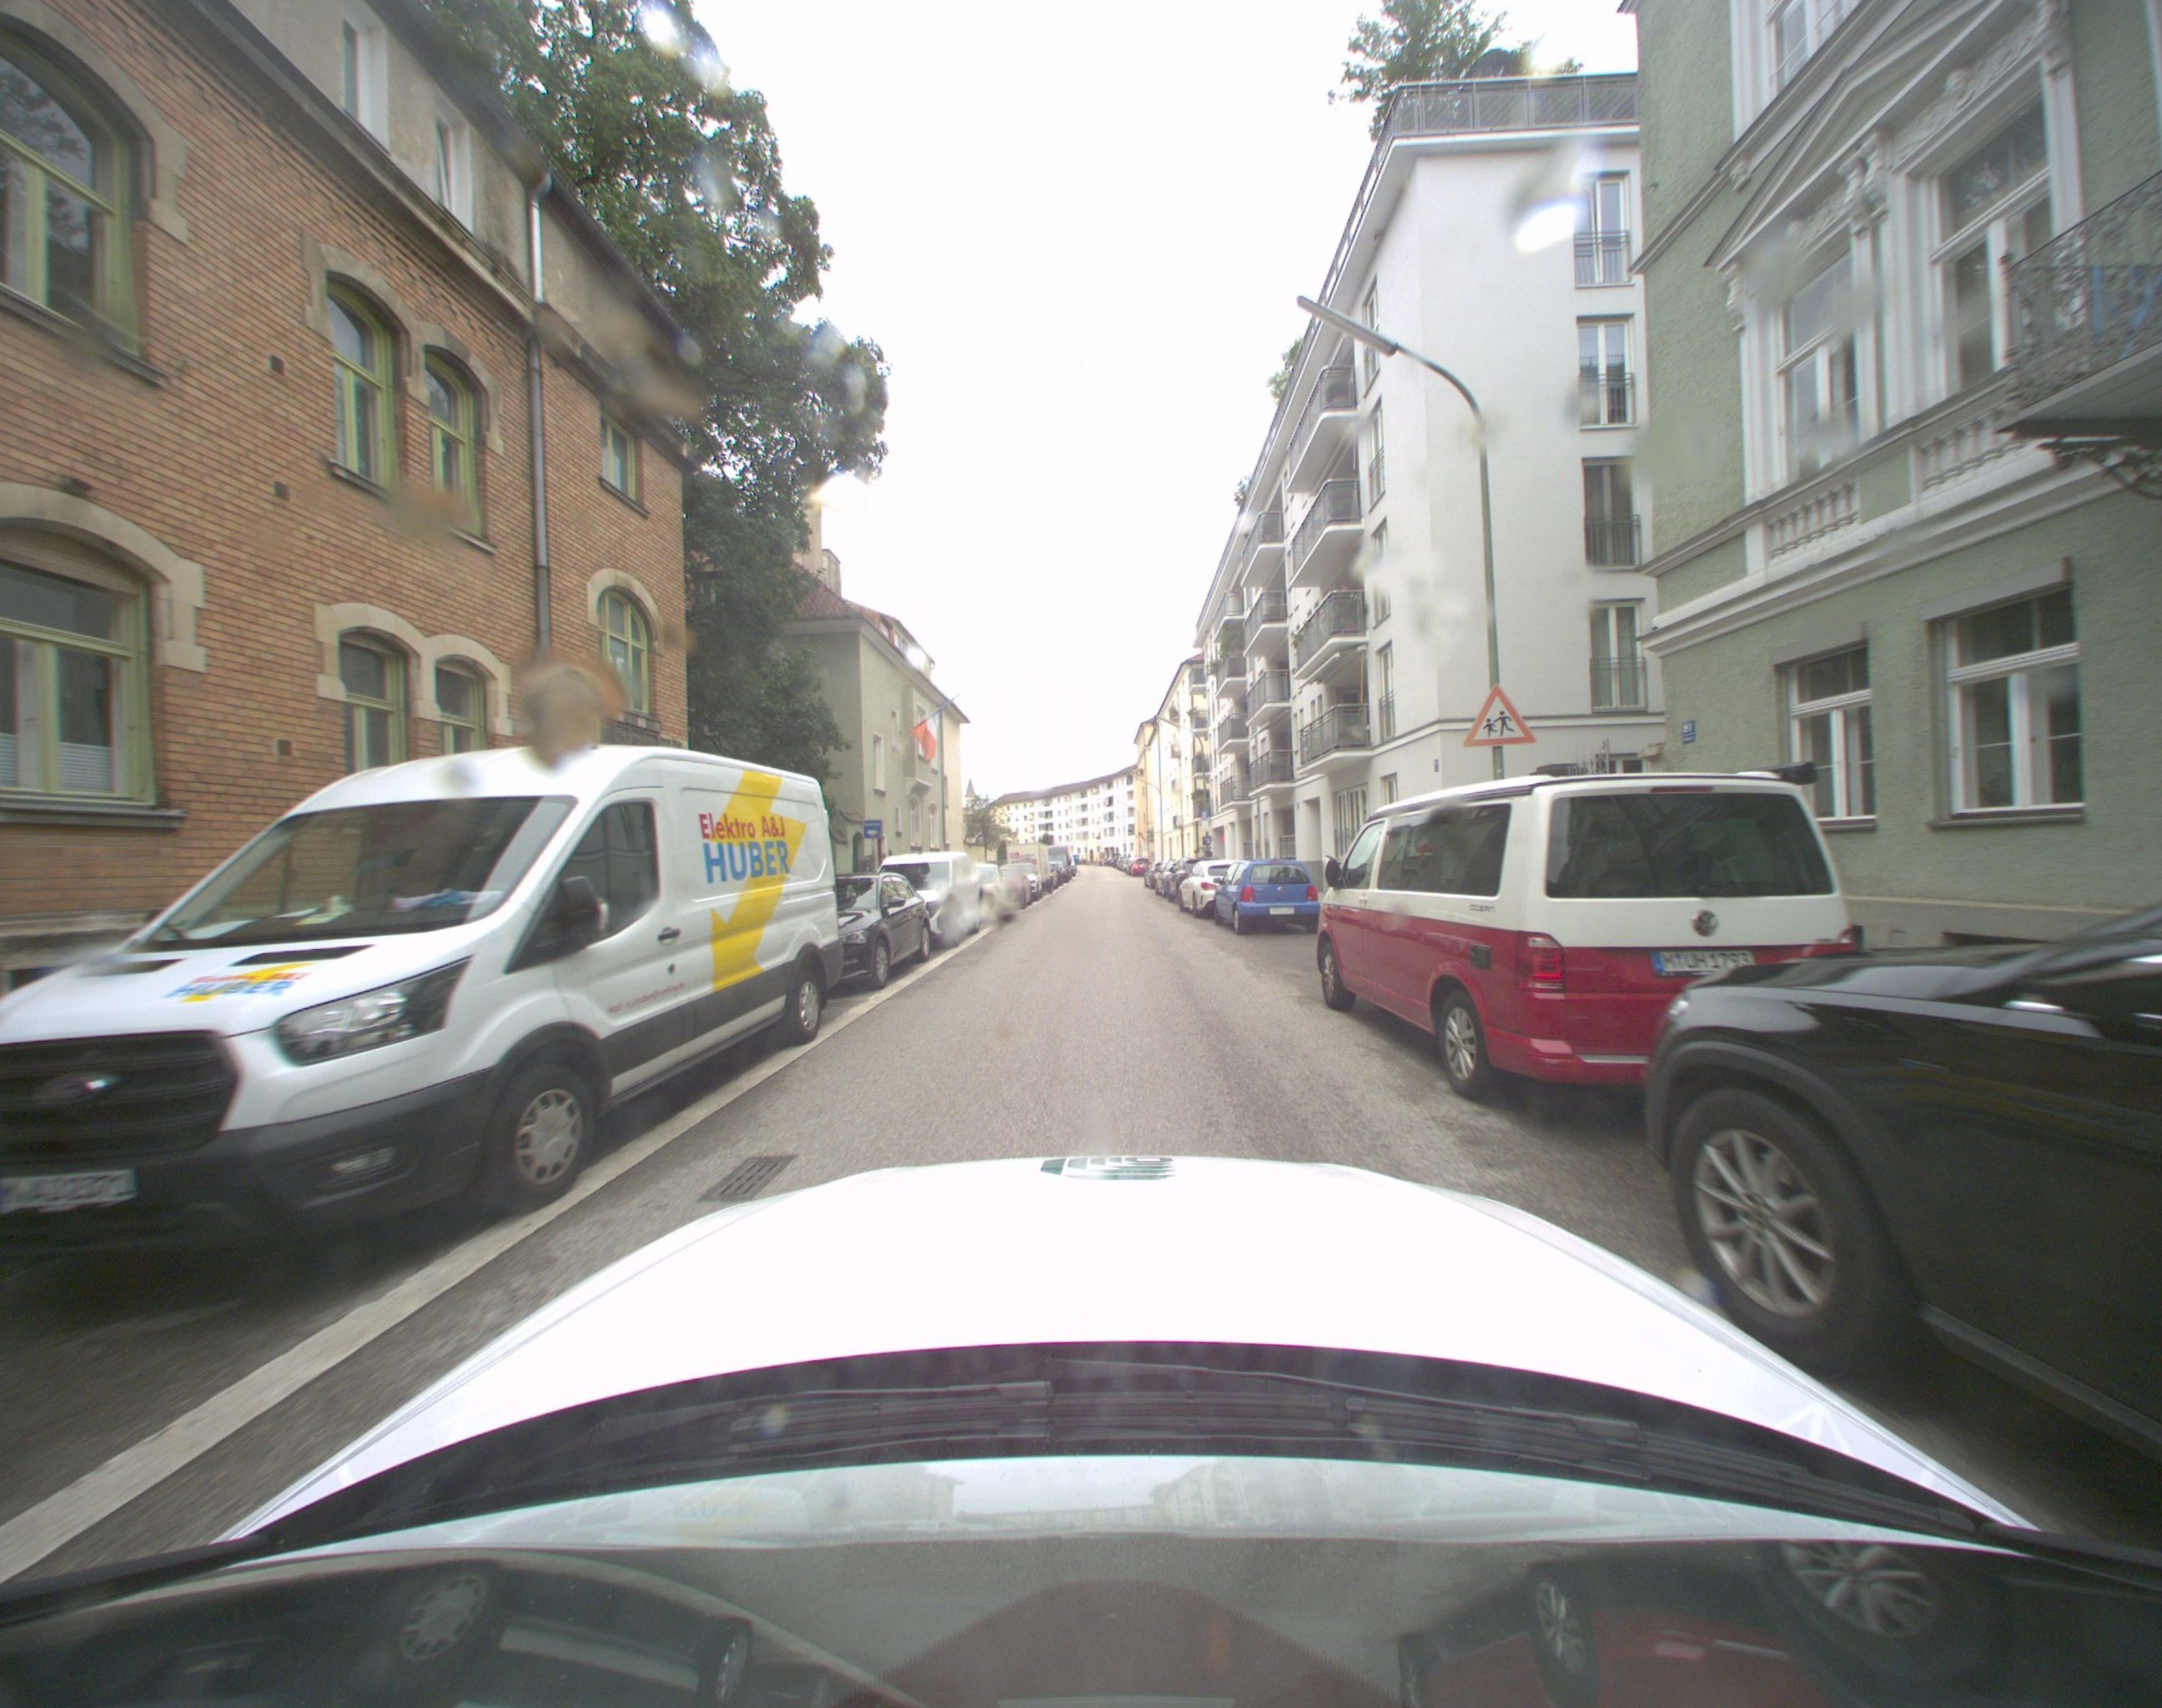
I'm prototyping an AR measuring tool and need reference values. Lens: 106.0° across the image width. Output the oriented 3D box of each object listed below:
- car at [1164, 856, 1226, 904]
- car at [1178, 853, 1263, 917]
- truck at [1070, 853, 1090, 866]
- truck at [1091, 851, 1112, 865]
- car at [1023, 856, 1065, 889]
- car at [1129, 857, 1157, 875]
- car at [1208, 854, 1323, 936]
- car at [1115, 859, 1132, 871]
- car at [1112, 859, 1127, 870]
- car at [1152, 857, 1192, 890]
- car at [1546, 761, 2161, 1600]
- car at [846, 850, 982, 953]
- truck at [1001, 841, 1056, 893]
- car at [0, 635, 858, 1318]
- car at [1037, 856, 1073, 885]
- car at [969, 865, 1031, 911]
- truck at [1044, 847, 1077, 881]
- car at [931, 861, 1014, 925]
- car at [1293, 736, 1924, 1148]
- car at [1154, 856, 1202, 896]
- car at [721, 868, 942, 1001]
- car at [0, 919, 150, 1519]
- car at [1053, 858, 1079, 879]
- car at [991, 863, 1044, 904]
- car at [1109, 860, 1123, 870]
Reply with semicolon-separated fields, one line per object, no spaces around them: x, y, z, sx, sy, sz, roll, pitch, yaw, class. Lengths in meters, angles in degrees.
3.750;0.819;27.241;1.642;1.434;4.003;-2;-1;3;car
3.502;0.757;21.104;1.642;1.434;4.003;-2;-1;3;car
-0.247;1.084;156.936;2.625;2.300;5.415;-1;0;-13;truck
3.444;0.719;135.556;2.228;2.300;5.267;-1;0;-13;truck
-2.117;1.050;47.350;1.986;1.762;4.383;-2;-1;2;car
5.046;0.939;66.855;1.778;1.385;3.996;-1;0;-2;car
3.674;0.773;16.806;1.602;1.434;3.620;-2;-1;2;car
5.301;1.341;102.092;1.778;1.385;3.996;-1;0;-2;car
5.227;1.455;110.702;1.778;1.385;3.996;-1;0;-2;car
4.331;0.918;39.250;1.642;1.434;4.287;-2;-1;3;car
2.892;0.563;1.063;1.853;1.551;4.753;-2;-1;1;car
-3.117;0.842;16.048;1.815;1.711;3.998;-2;-1;-1;car
-2.489;0.615;39.866;1.986;2.319;5.413;-2;-1;2;truck
-3.454;0.474;5.562;2.129;2.349;5.372;-2;-1;2;car
-1.656;1.066;54.014;1.986;1.762;4.383;-2;-1;2;car
-2.651;1.096;27.425;1.747;1.368;3.996;-2;-1;-2;car
-1.505;0.749;60.924;1.986;2.319;5.413;-2;-1;2;truck
-2.917;1.004;22.655;1.841;1.540;3.996;-2;-1;-2;car
3.251;0.462;6.465;1.863;1.968;4.817;-2;-1;1;car
3.889;0.865;33.165;1.642;1.434;4.003;-2;-1;3;car
-3.226;0.962;11.402;1.738;1.444;4.000;-2;-1;1;car
-3.572;0.927;0.396;1.691;1.431;3.832;-3;-1;2;car
-1.322;1.268;72.132;1.986;1.762;4.383;-2;-1;2;car
-2.496;1.142;32.933;1.790;1.469;3.866;-2;-1;0;car
5.170;1.589;121.762;1.778;1.385;3.996;-1;0;-2;car
